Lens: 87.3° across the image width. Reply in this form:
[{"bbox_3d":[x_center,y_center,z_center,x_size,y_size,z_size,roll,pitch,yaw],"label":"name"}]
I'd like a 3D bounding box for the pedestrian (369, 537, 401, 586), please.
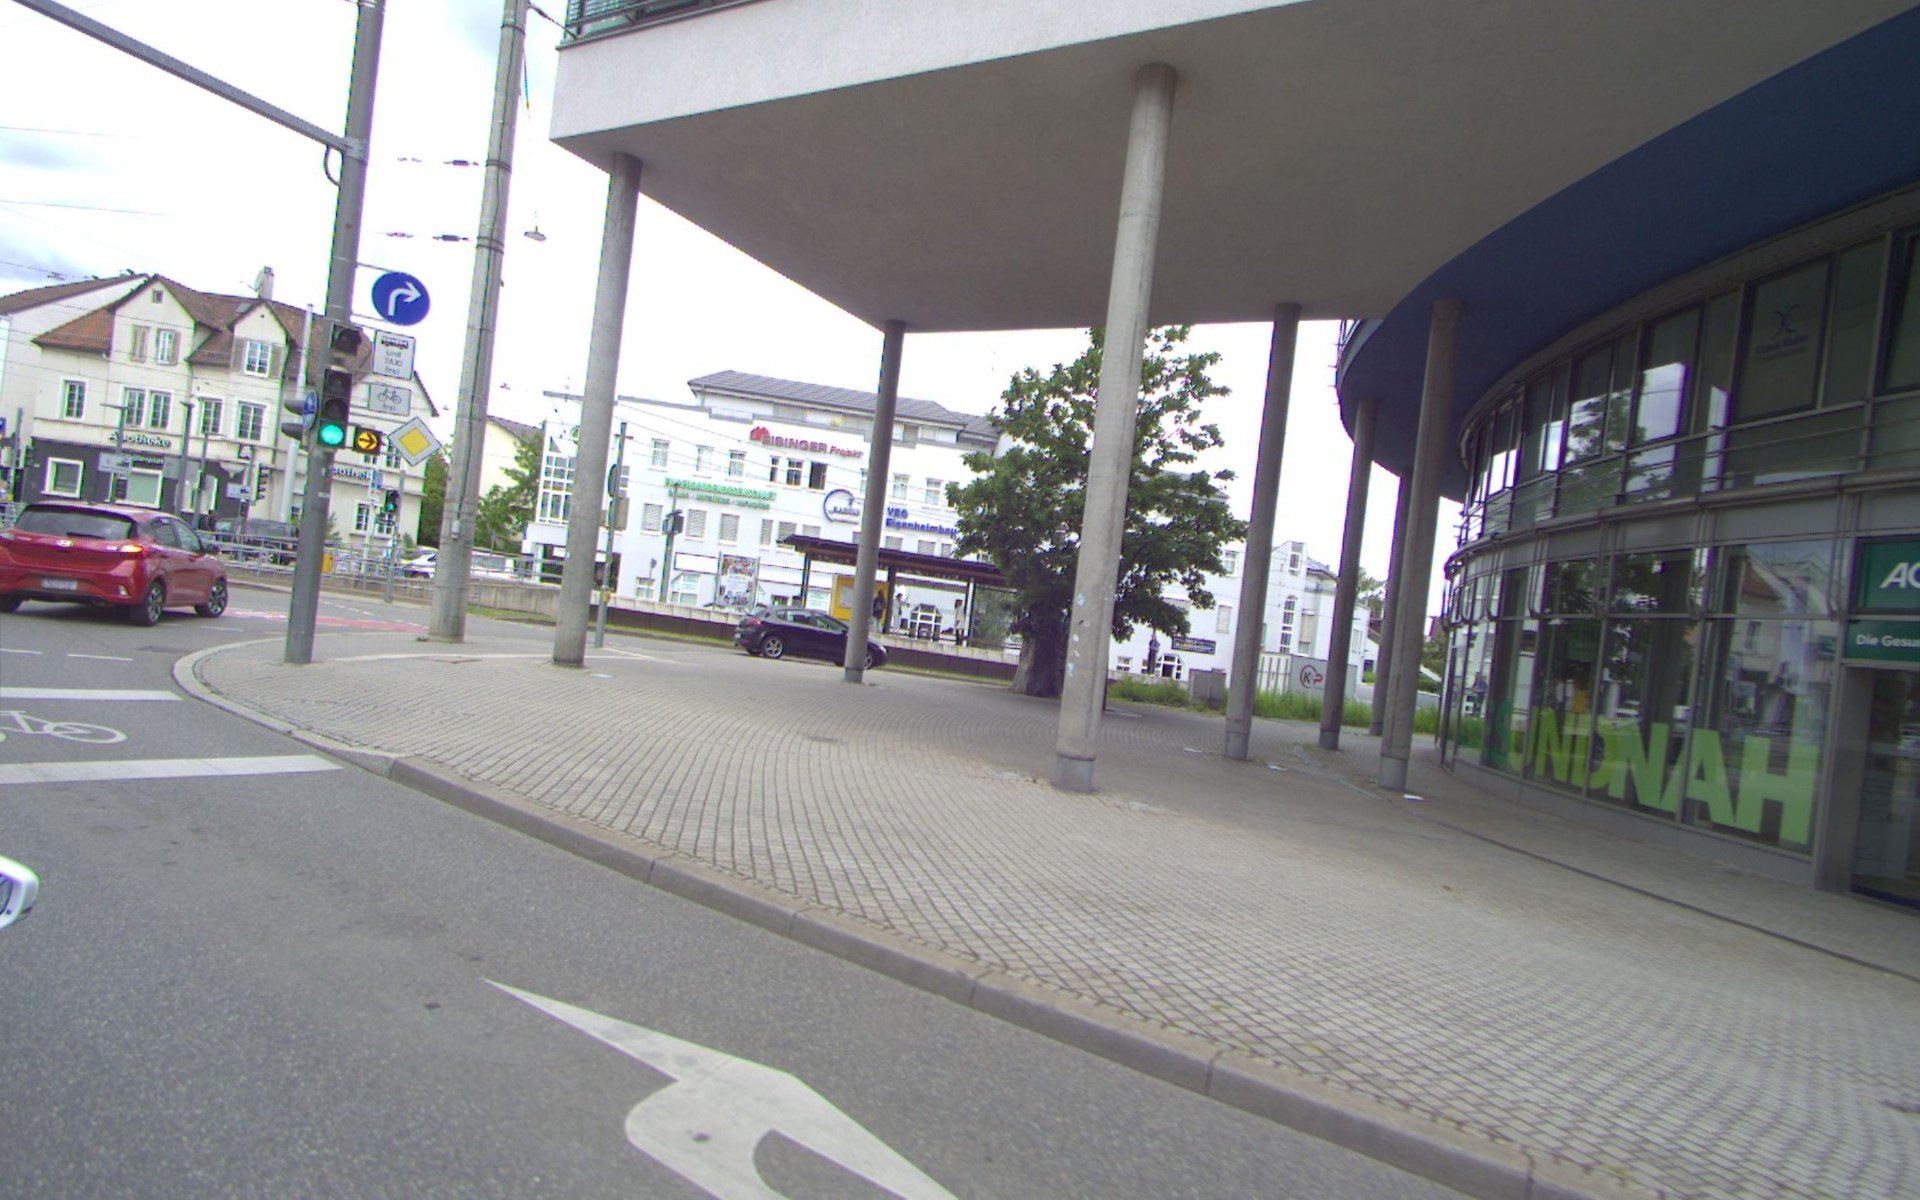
[{"bbox_3d":[-21.969,-1.458,38.468,0.640,1.738,0.787,8,-1,-13],"label":"pedestrian"}]

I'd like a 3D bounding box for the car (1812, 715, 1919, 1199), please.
[{"bbox_3d":[3.722,1.195,0.617,4.493,1.563,1.999,7,-3,30],"label":"car"}]

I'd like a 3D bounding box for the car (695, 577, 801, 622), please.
[{"bbox_3d":[-10.083,-0.014,48.169,4.704,1.488,1.988,8,-2,-10],"label":"car"}]

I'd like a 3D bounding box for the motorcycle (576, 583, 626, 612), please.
[{"bbox_3d":[-16.678,-0.094,46.746,1.947,1.086,0.762,8,-2,-10],"label":"motorcycle"}]

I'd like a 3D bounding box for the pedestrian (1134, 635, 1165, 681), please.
[{"bbox_3d":[7.769,2.362,41.294,0.684,1.738,0.782,9,-1,-33],"label":"pedestrian"}]

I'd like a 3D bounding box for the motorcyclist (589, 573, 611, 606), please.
[{"bbox_3d":[-16.716,-0.471,46.744,0.681,1.410,0.762,7,-1,-10],"label":"motorcyclist"}]

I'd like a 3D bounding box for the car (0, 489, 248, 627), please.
[{"bbox_3d":[-11.658,-0.557,14.133,1.681,1.469,3.980,8,-1,-22],"label":"car"}]

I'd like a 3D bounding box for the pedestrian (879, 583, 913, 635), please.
[{"bbox_3d":[-2.401,0.347,37.835,0.778,1.795,0.688,8,-1,39],"label":"pedestrian"}]

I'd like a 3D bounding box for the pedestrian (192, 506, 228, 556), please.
[{"bbox_3d":[-27.865,-2.555,37.398,0.638,1.739,0.704,7,1,21],"label":"pedestrian"}]

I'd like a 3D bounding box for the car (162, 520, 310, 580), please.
[{"bbox_3d":[-31.062,-2.107,43.325,4.626,1.842,1.859,8,-2,-16],"label":"car"}]

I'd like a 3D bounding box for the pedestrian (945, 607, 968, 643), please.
[{"bbox_3d":[-0.129,0.960,38.872,0.581,1.279,0.567,9,-1,-19],"label":"pedestrian"}]

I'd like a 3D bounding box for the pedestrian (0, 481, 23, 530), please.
[{"bbox_3d":[-36.112,-3.579,37.915,0.714,1.739,0.843,7,1,26],"label":"pedestrian"}]

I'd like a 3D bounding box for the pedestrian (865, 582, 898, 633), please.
[{"bbox_3d":[-2.861,0.265,36.451,0.779,1.738,0.686,9,-1,-24],"label":"pedestrian"}]

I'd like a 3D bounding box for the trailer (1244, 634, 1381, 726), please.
[{"bbox_3d":[12.489,2.836,35.629,4.271,2.643,1.873,8,-2,-25],"label":"trailer"}]

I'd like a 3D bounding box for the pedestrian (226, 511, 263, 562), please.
[{"bbox_3d":[-26.610,-2.354,37.408,0.639,1.738,0.788,8,-1,-10],"label":"pedestrian"}]

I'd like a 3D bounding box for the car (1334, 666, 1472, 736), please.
[{"bbox_3d":[16.545,3.791,37.540,4.847,1.968,1.873,9,-2,-25],"label":"car"}]

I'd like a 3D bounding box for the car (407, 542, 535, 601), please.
[{"bbox_3d":[-22.173,-1.270,45.800,4.704,1.941,1.988,8,-2,-10],"label":"car"}]

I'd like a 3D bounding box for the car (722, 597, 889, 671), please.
[{"bbox_3d":[-4.115,0.913,26.888,3.954,1.428,1.728,8,0,-28],"label":"car"}]

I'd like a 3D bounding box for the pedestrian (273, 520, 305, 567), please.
[{"bbox_3d":[-26.299,-2.211,39.425,0.781,1.738,0.645,9,-1,-30],"label":"pedestrian"}]

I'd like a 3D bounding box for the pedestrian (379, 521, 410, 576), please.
[{"bbox_3d":[-18.742,-1.693,33.365,0.641,1.739,0.701,7,1,-21],"label":"pedestrian"}]
